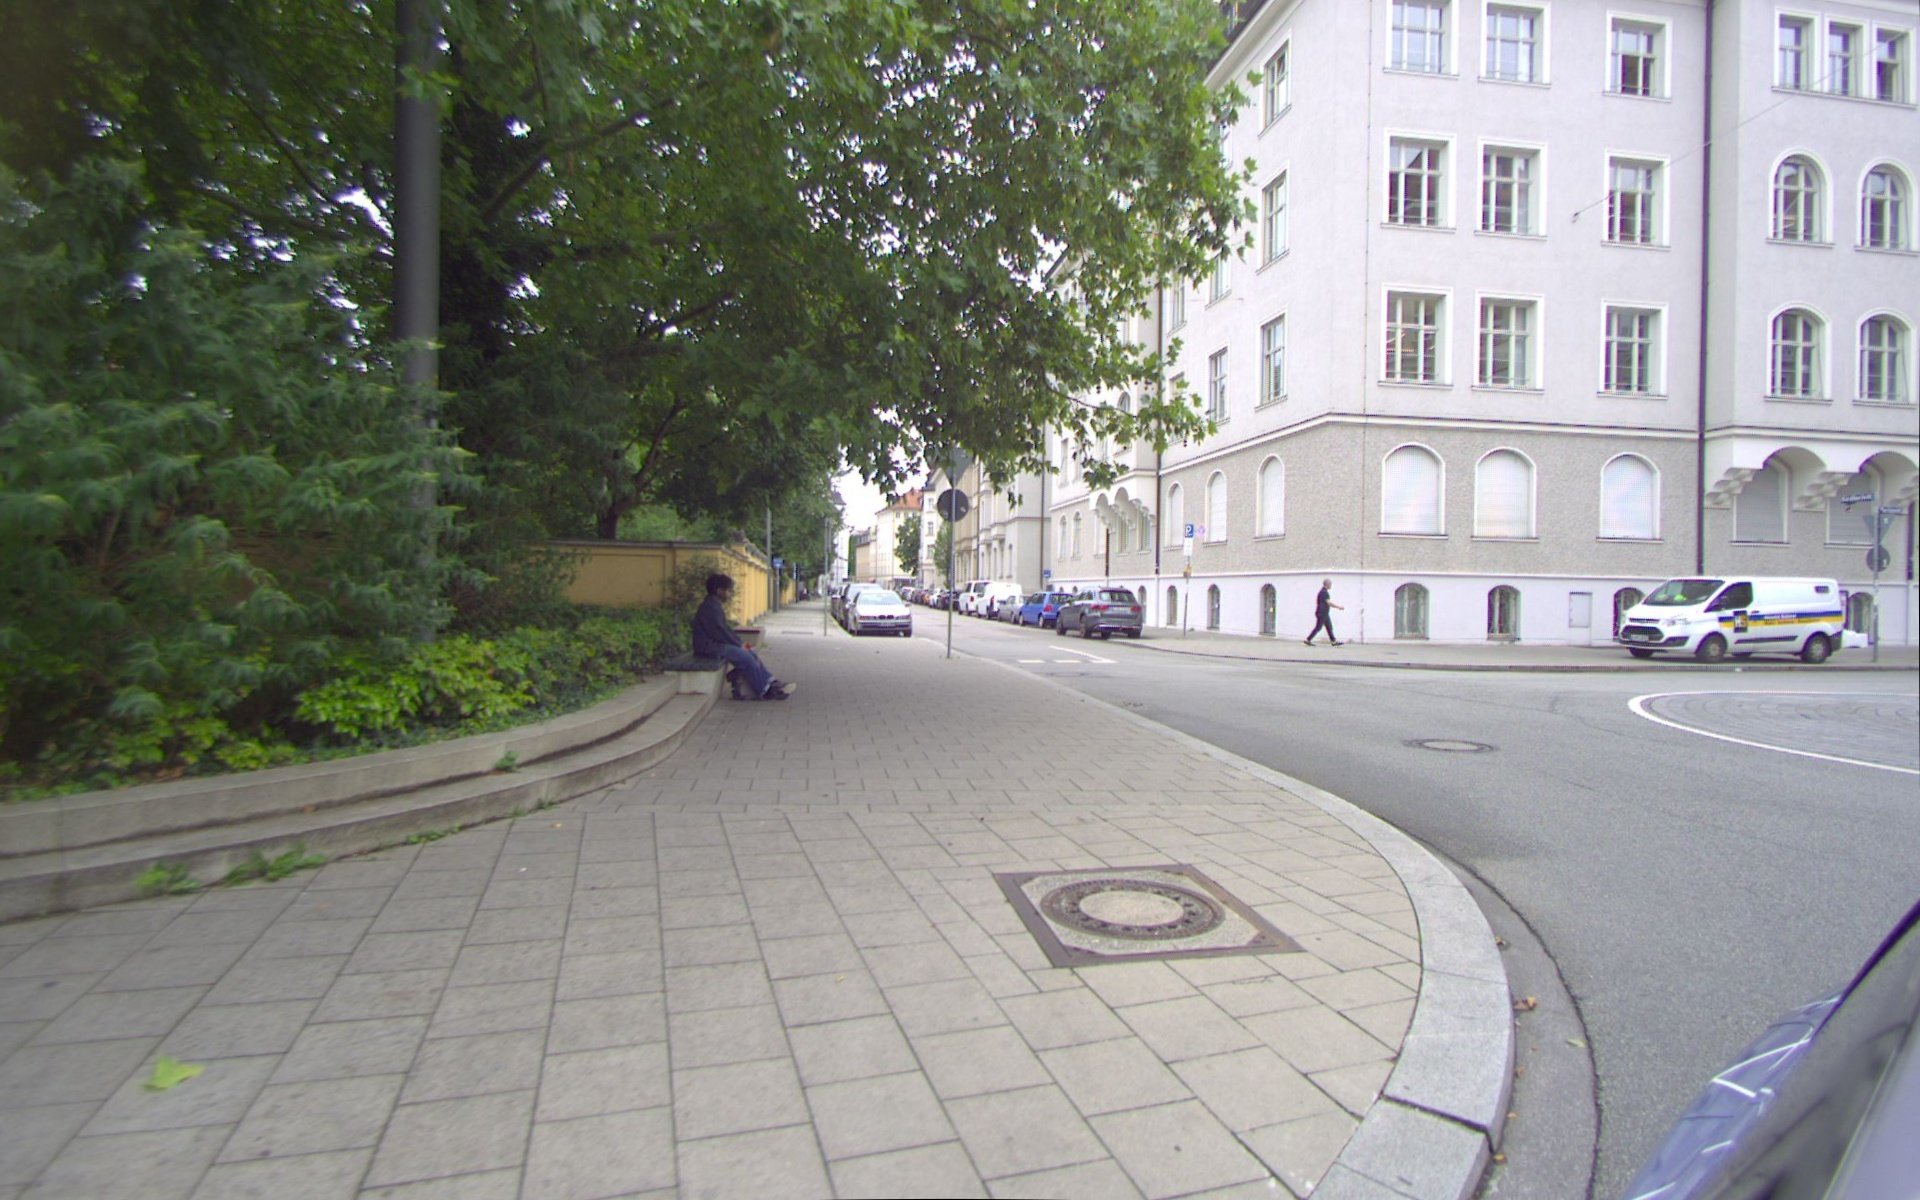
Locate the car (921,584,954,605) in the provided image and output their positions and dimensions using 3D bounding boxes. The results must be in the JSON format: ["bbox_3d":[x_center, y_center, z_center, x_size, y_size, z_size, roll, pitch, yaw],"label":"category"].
[{"bbox_3d":[-1.710,-0.407,74.461,1.781,1.444,3.847,0,1,-11],"label":"car"}]

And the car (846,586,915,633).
[{"bbox_3d":[-2.576,0.247,32.068,1.764,1.385,4.473,1,1,-10],"label":"car"}]

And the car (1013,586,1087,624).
[{"bbox_3d":[3.545,0.169,40.731,1.853,1.422,4.259,0,1,-11],"label":"car"}]

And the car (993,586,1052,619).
[{"bbox_3d":[2.797,0.101,45.931,1.760,1.422,3.847,0,1,-11],"label":"car"}]

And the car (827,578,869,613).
[{"bbox_3d":[-5.301,-0.206,47.604,1.759,1.566,3.310,1,1,-10],"label":"car"}]

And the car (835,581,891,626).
[{"bbox_3d":[-3.675,0.104,37.894,1.759,1.566,3.964,1,1,-10],"label":"car"}]

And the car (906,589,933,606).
[{"bbox_3d":[-3.538,-0.236,88.547,1.781,1.444,3.847,0,1,-11],"label":"car"}]

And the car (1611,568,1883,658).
[{"bbox_3d":[18.158,0.276,23.438,5.262,1.946,1.949,1,1,-11],"label":"car"}]

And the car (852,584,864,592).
[{"bbox_3d":[-18.358,-2.166,182.000,1.759,1.566,3.617,1,1,-10],"label":"car"}]

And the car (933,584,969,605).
[{"bbox_3d":[-0.659,-0.400,70.100,1.781,1.444,3.847,0,1,-11],"label":"car"}]

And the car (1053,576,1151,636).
[{"bbox_3d":[4.530,0.138,32.920,1.853,1.818,4.259,0,1,-11],"label":"car"}]

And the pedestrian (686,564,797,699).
[{"bbox_3d":[-2.303,0.325,10.775,1.108,1.374,0.773,1,0,-9],"label":"pedestrian"}]

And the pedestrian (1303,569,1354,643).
[{"bbox_3d":[9.363,0.141,25.725,0.926,1.823,0.985,1,0,40],"label":"pedestrian"}]

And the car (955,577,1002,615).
[{"bbox_3d":[0.965,-0.248,56.335,1.781,2.061,4.042,0,1,-11],"label":"car"}]

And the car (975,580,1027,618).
[{"bbox_3d":[1.989,-0.065,50.203,1.760,1.805,3.847,0,1,-11],"label":"car"}]
